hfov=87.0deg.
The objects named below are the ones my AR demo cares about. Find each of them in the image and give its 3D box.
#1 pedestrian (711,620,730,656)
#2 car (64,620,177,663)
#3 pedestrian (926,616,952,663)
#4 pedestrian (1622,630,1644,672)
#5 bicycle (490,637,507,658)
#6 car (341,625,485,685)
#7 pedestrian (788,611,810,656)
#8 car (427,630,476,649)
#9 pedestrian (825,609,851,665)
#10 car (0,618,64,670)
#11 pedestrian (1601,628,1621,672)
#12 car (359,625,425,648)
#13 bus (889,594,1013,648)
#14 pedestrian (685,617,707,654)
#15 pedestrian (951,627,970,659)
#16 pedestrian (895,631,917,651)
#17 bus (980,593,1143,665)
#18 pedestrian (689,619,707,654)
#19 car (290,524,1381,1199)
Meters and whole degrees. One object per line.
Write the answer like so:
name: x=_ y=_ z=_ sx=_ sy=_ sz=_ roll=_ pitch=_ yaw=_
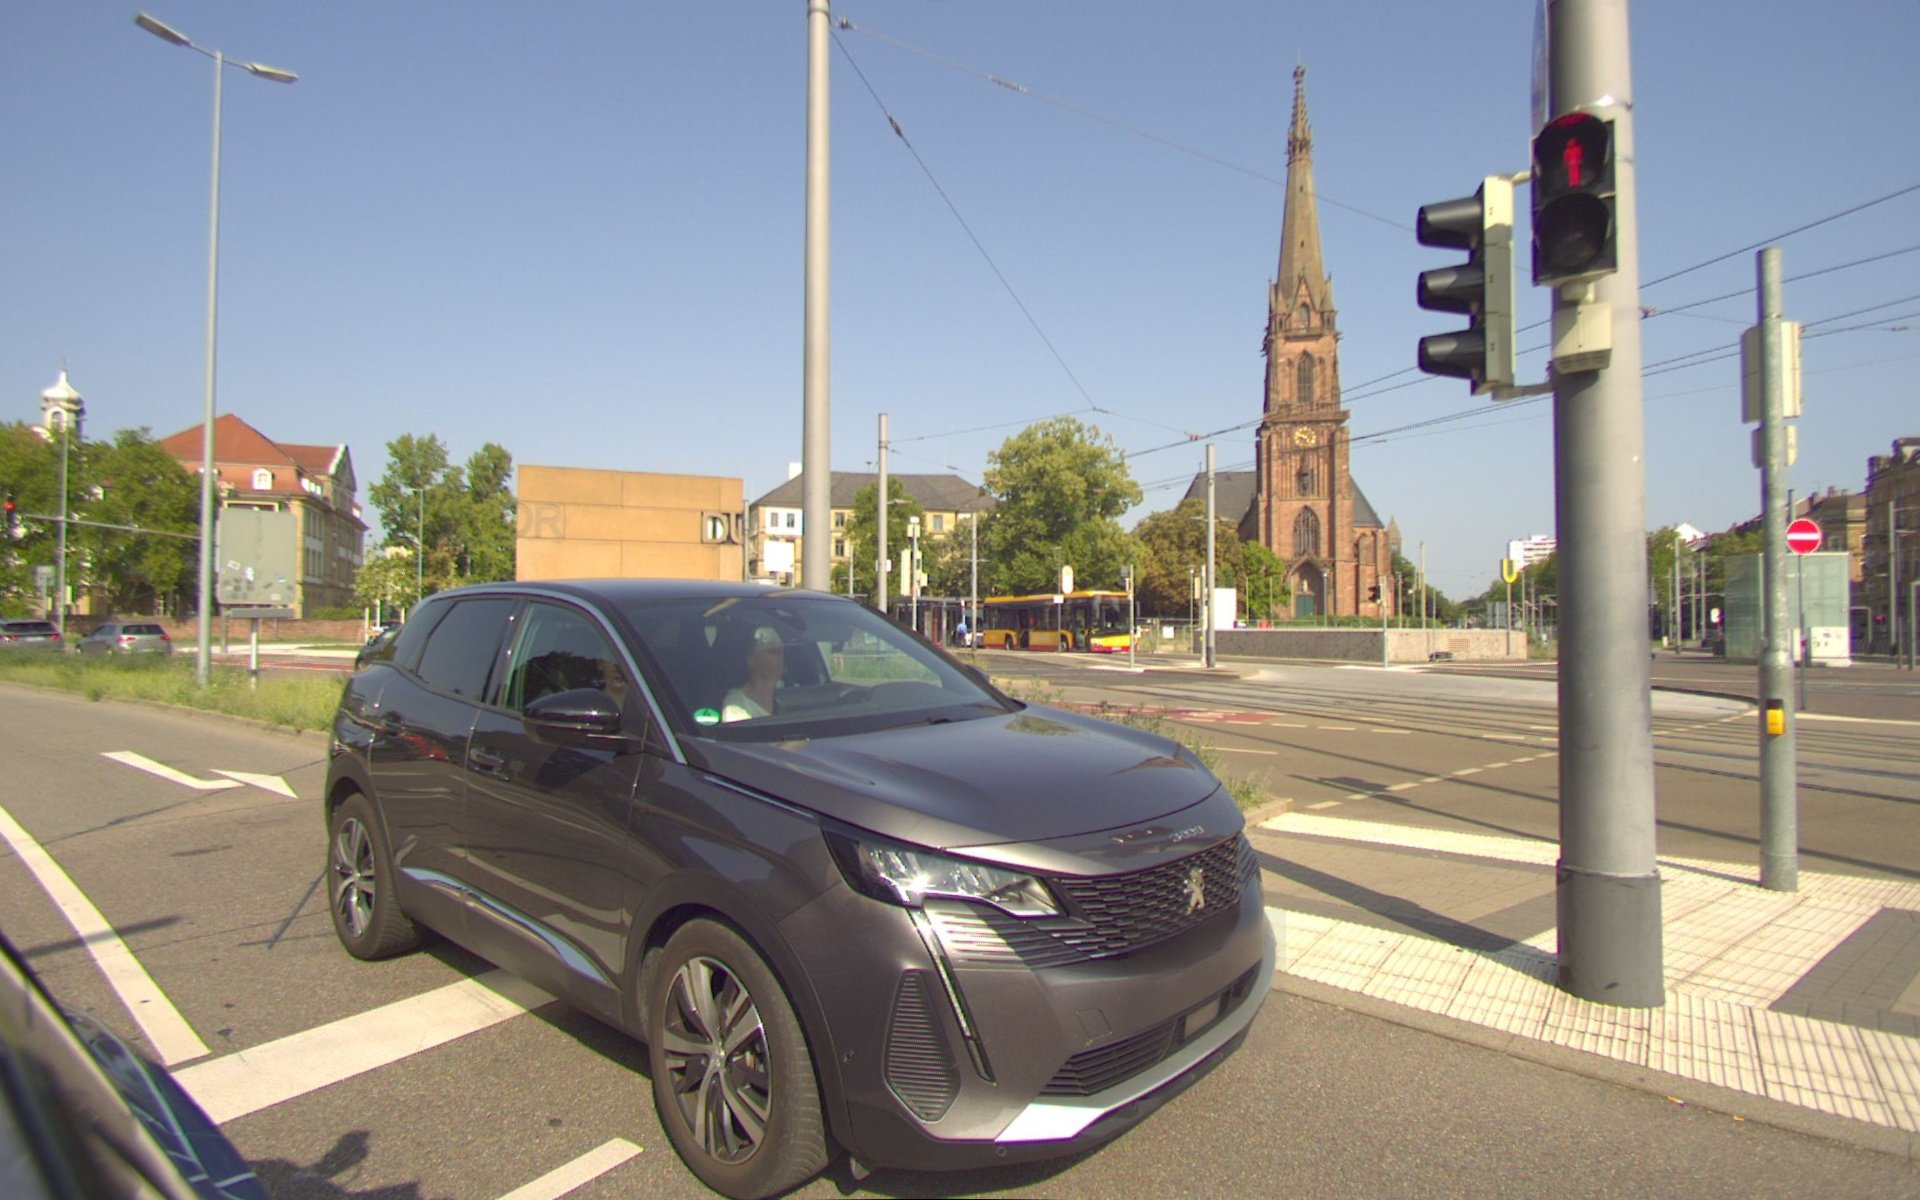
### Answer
pedestrian: x=-10.953 y=1.723 z=46.302 sx=0.707 sy=1.642 sz=0.859 roll=1 pitch=-2 yaw=-24
car: x=-29.859 y=1.451 z=35.976 sx=4.209 sy=1.444 sz=1.800 roll=-1 pitch=-2 yaw=31
pedestrian: x=-0.836 y=1.547 z=40.000 sx=0.699 sy=1.814 sz=0.771 roll=-1 pitch=-2 yaw=32
pedestrian: x=29.025 y=2.204 z=43.640 sx=0.751 sy=1.796 sz=0.698 roll=-2 pitch=-2 yaw=37
bicycle: x=-20.333 y=2.083 z=44.604 sx=0.582 sy=0.844 sz=1.552 roll=-2 pitch=-1 yaw=-21
car: x=-14.278 y=1.391 z=26.391 sx=3.667 sy=1.463 sz=1.872 roll=-1 pitch=-2 yaw=36
pedestrian: x=-6.640 y=1.387 z=41.733 sx=0.689 sy=1.814 sz=0.782 roll=1 pitch=-2 yaw=-25
car: x=-41.173 y=3.159 z=81.975 sx=1.607 sy=1.509 sz=3.838 roll=0 pitch=-1 yaw=9
pedestrian: x=-3.963 y=1.201 z=32.894 sx=0.689 sy=1.814 sz=0.782 roll=1 pitch=-2 yaw=-18
car: x=-31.387 y=1.404 z=33.105 sx=4.441 sy=1.629 sz=1.683 roll=-1 pitch=-2 yaw=28
pedestrian: x=28.324 y=2.161 z=44.055 sx=0.652 sy=1.880 sz=0.712 roll=-2 pitch=-2 yaw=37
car: x=-42.279 y=2.701 z=75.411 sx=1.978 sy=1.646 sz=4.358 roll=0 pitch=-2 yaw=10
bus: x=-0.906 y=1.386 z=63.402 sx=3.242 sy=3.000 sz=12.838 roll=1 pitch=-2 yaw=-22
pedestrian: x=-12.288 y=1.649 z=47.147 sx=0.851 sy=1.718 sz=0.734 roll=1 pitch=-2 yaw=-26
pedestrian: x=0.003 y=2.374 z=56.351 sx=0.816 sy=1.752 sz=0.838 roll=1 pitch=-2 yaw=-20
pedestrian: x=-3.088 y=2.348 z=57.700 sx=1.013 sy=1.142 sz=0.740 roll=1 pitch=-2 yaw=-30
bus: x=4.636 y=1.455 z=50.578 sx=2.669 sy=3.132 sz=12.254 roll=1 pitch=-2 yaw=-22
pedestrian: x=-13.066 y=1.821 z=50.465 sx=0.707 sy=1.751 sz=0.859 roll=1 pitch=-2 yaw=-24
car: x=-0.921 y=0.683 z=3.870 sx=4.370 sy=1.503 sz=1.665 roll=-2 pitch=-3 yaw=42
